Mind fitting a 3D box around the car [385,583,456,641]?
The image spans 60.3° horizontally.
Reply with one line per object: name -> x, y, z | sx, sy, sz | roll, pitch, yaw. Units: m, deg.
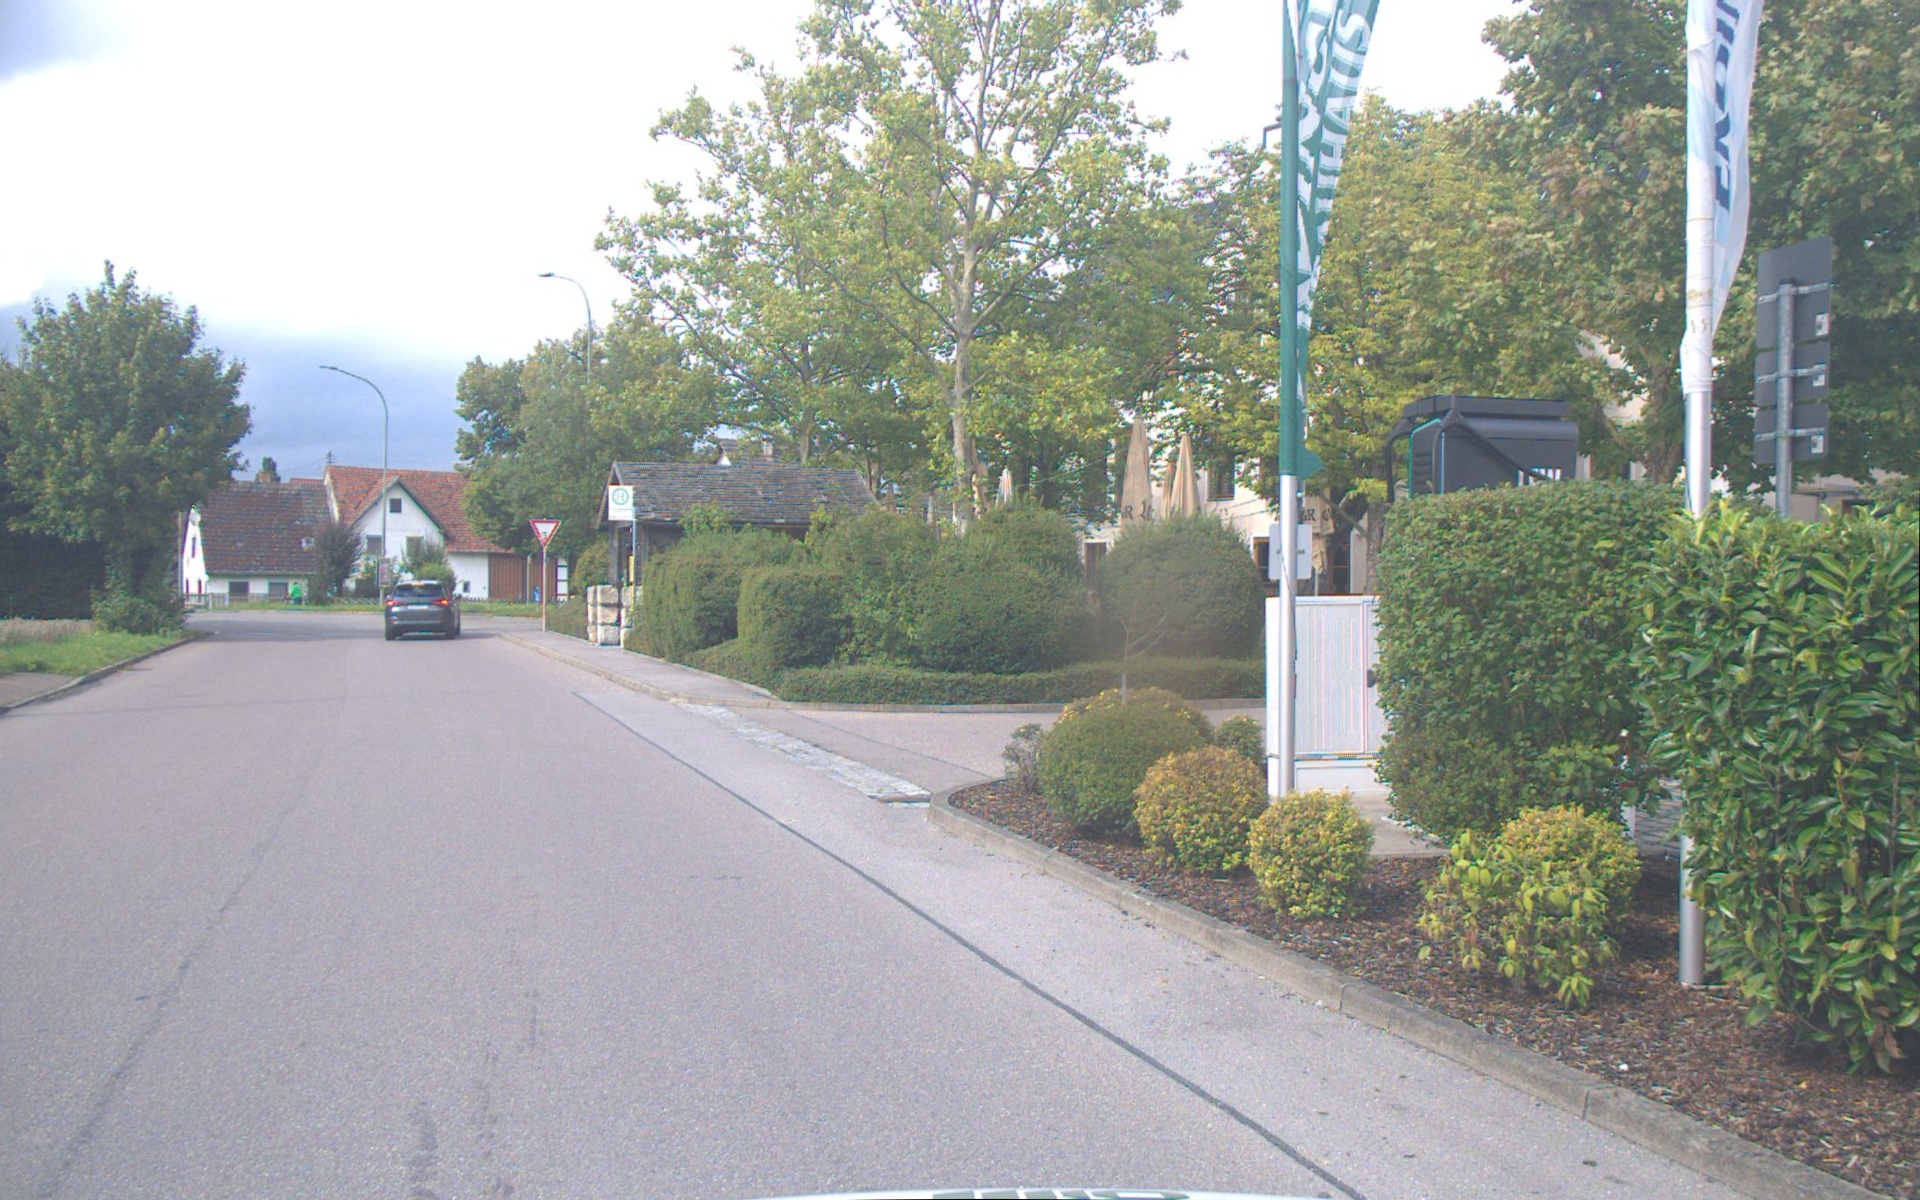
car -> -14.790, 0.293, 45.337 | 1.771, 1.488, 3.643 | 0, 1, -19

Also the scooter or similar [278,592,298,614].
scooter or similar -> -31.936, 0.139, 78.582 | 0.610, 0.965, 0.630 | 1, -4, 37

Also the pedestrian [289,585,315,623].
pedestrian -> -31.193, 0.192, 78.423 | 0.698, 1.694, 0.787 | 1, -4, 37
